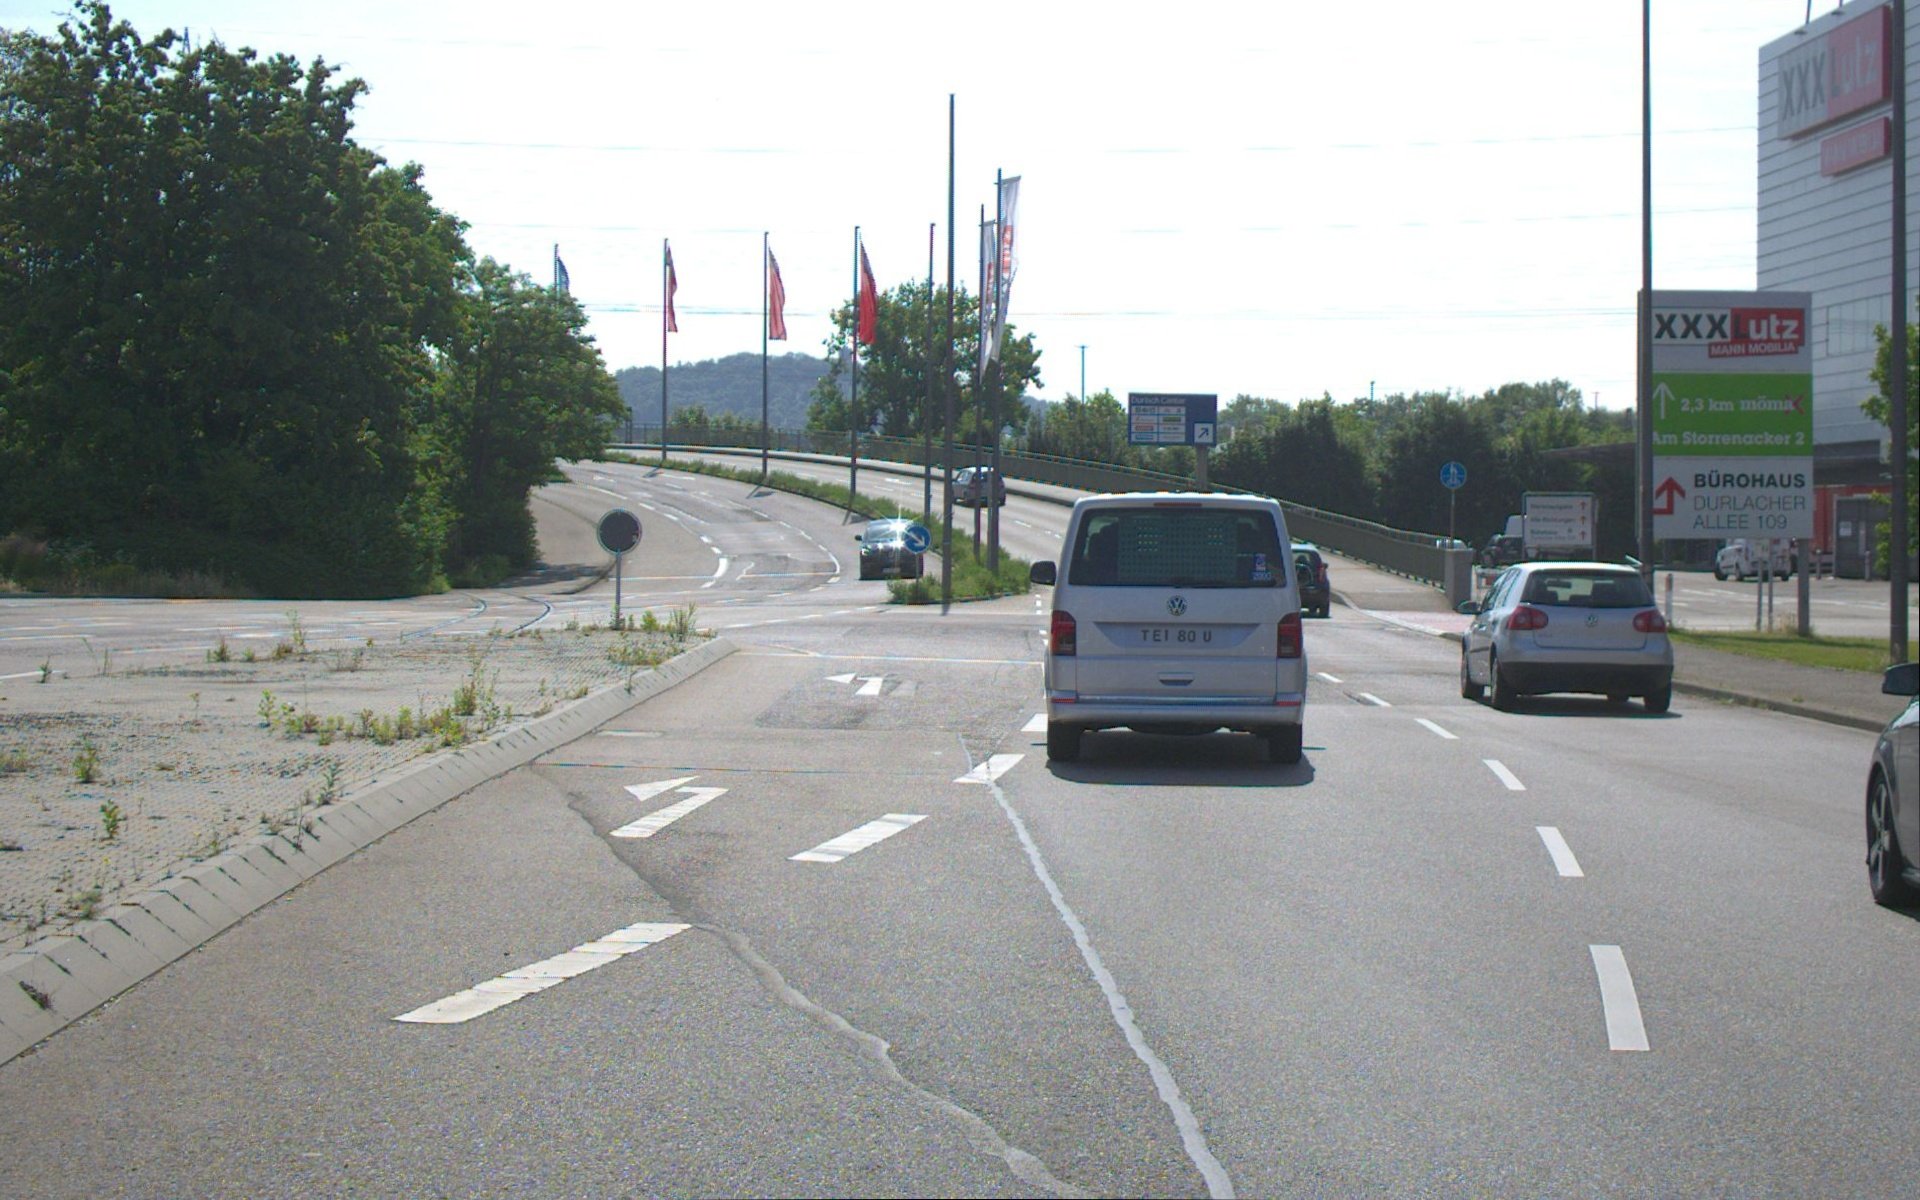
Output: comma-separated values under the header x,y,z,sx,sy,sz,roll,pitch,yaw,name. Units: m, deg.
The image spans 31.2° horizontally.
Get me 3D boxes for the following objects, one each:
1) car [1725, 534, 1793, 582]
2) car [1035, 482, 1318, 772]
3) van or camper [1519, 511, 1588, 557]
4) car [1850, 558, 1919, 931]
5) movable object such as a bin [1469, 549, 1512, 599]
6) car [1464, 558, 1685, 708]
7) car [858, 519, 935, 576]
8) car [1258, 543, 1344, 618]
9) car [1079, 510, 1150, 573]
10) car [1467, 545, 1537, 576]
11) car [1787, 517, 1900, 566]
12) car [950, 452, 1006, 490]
x,y,z,sx,sy,sz,roll,pitch,yaw,name
30.880,-1.631,132.931,1.673,1.745,4.094,1,2,1,car
1.581,0.141,25.849,1.917,1.968,4.297,1,1,2,car
31.261,-3.469,180.987,2.101,2.171,5.430,3,0,25,van or camper
4.841,0.636,13.776,1.774,1.533,4.137,2,1,5,car
12.060,-0.598,78.164,0.810,1.109,1.182,1,1,1,movable object such as a bin
6.188,0.326,34.965,1.667,1.409,3.682,1,0,2,car
-1.860,-1.565,101.343,1.916,1.601,4.271,1,1,3,car
7.211,-0.436,72.974,1.531,1.475,3.596,2,1,2,car
3.796,-1.455,84.914,1.531,1.475,3.247,2,1,0,car
26.666,-1.961,169.247,1.993,1.415,4.001,3,0,-12,car
36.793,-2.438,143.180,4.187,1.922,1.776,1,2,0,car
0.726,-5.358,142.907,1.530,1.475,3.426,2,1,-13,car
